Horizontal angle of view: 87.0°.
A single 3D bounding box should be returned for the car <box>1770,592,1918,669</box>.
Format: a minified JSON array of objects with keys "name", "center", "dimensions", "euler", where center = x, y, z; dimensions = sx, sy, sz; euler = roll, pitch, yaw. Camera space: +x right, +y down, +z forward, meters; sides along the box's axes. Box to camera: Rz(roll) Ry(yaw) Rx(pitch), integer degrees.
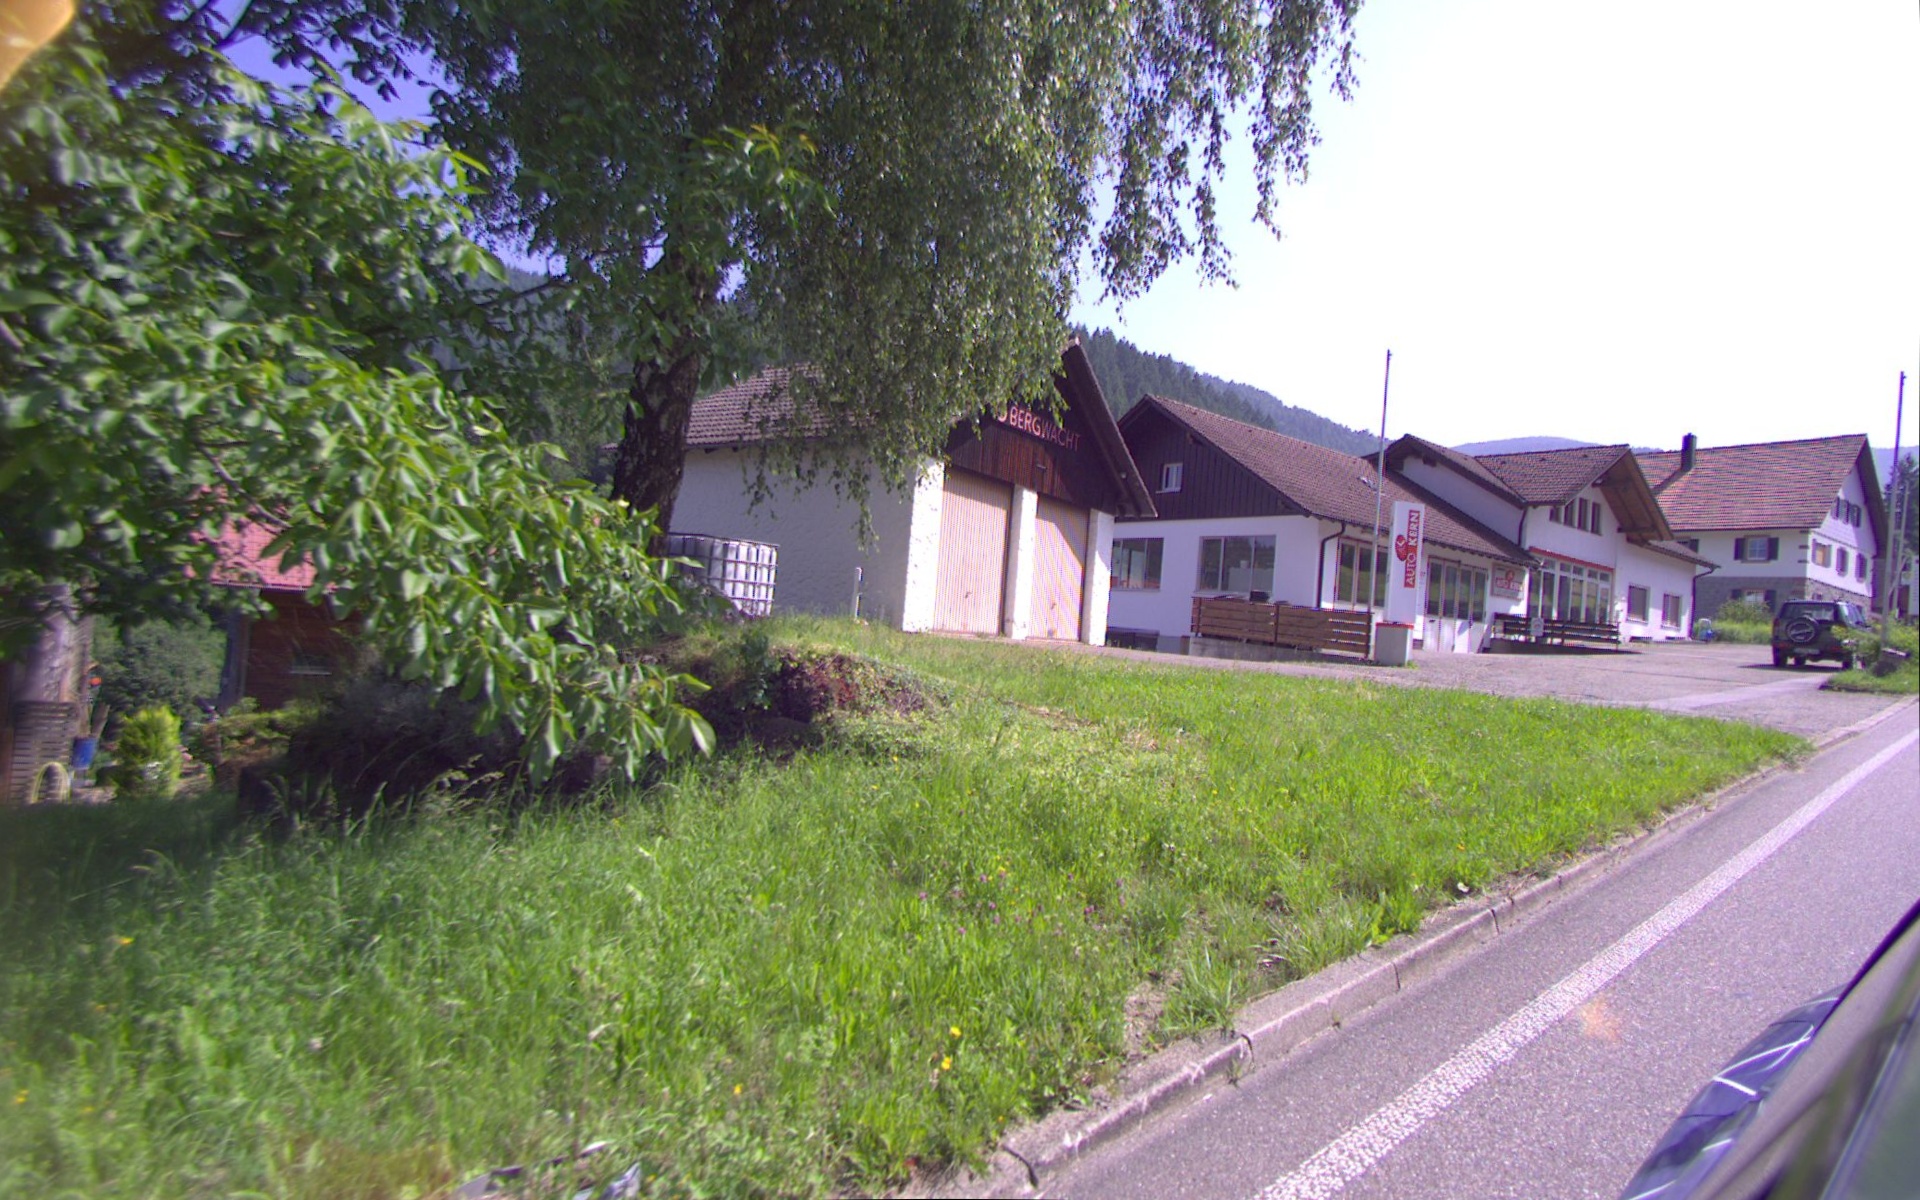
[{"name":"car","center":[23.626,0.785,27.003],"dimensions":[4.573,1.836,1.816],"euler":[1,2,-34]}]
